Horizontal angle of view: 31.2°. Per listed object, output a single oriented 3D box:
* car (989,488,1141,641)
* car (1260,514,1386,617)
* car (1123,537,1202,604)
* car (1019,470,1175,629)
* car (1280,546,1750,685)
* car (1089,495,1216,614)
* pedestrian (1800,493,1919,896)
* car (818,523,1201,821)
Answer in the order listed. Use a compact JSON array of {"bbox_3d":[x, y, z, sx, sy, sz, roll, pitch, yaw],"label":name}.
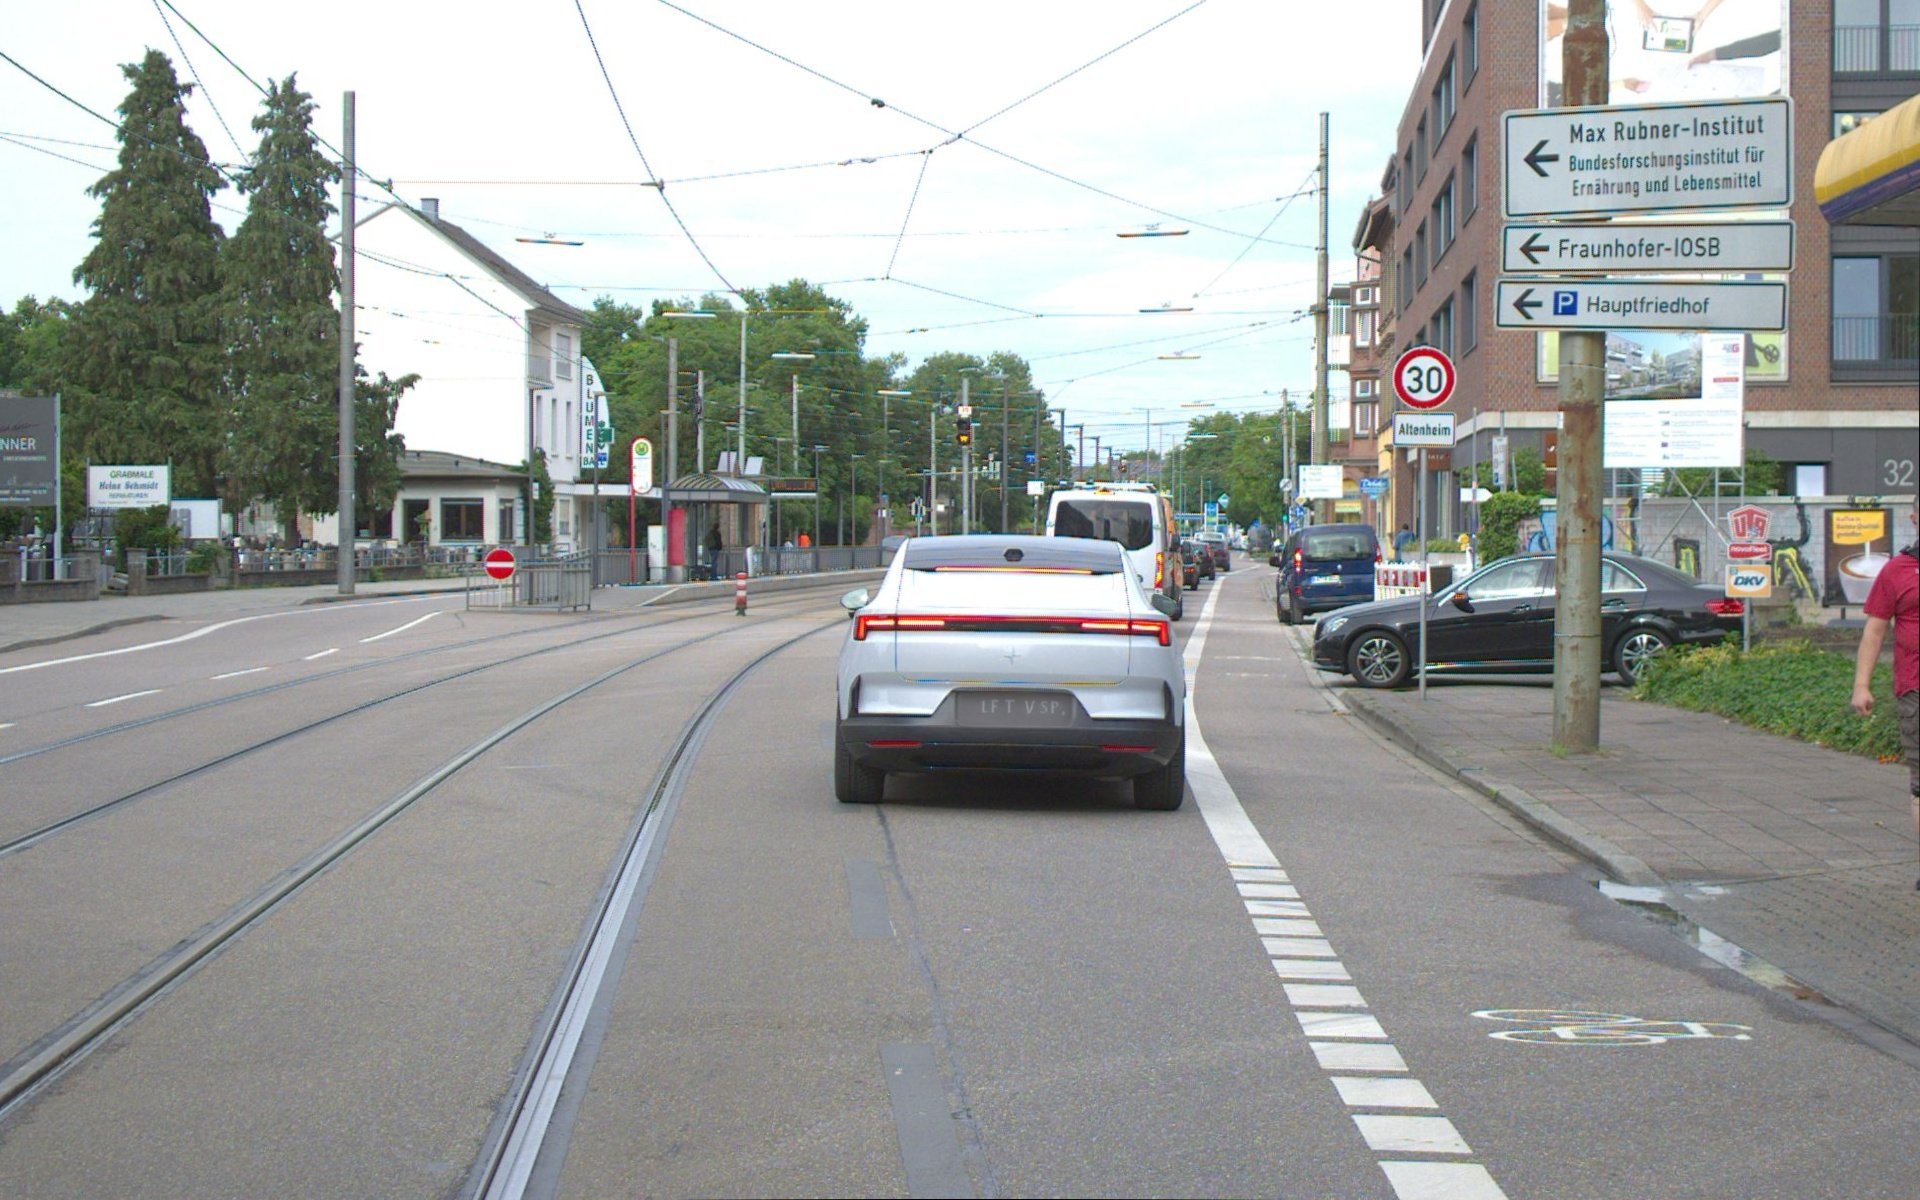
[{"bbox_3d":[1.438,-0.494,48.460,1.993,2.007,4.000,2,0,1],"label":"car"},{"bbox_3d":[6.752,-0.644,64.356,1.874,1.817,4.096,2,0,0],"label":"car"},{"bbox_3d":[6.321,-0.916,107.605,1.993,2.007,4.001,2,0,-3],"label":"car"},{"bbox_3d":[2.186,-0.812,56.246,2.216,2.415,4.951,2,0,-1],"label":"car"},{"bbox_3d":[6.067,0.134,37.464,4.874,1.422,1.951,0,1,16],"label":"car"},{"bbox_3d":[3.636,-0.867,65.764,2.139,2.138,4.743,2,0,0],"label":"car"},{"bbox_3d":[4.356,0.395,15.308,0.972,1.732,0.861,-2,0,0],"label":"pedestrian"},{"bbox_3d":[0.181,0.347,20.522,1.981,1.544,4.184,2,1,-3],"label":"car"}]
